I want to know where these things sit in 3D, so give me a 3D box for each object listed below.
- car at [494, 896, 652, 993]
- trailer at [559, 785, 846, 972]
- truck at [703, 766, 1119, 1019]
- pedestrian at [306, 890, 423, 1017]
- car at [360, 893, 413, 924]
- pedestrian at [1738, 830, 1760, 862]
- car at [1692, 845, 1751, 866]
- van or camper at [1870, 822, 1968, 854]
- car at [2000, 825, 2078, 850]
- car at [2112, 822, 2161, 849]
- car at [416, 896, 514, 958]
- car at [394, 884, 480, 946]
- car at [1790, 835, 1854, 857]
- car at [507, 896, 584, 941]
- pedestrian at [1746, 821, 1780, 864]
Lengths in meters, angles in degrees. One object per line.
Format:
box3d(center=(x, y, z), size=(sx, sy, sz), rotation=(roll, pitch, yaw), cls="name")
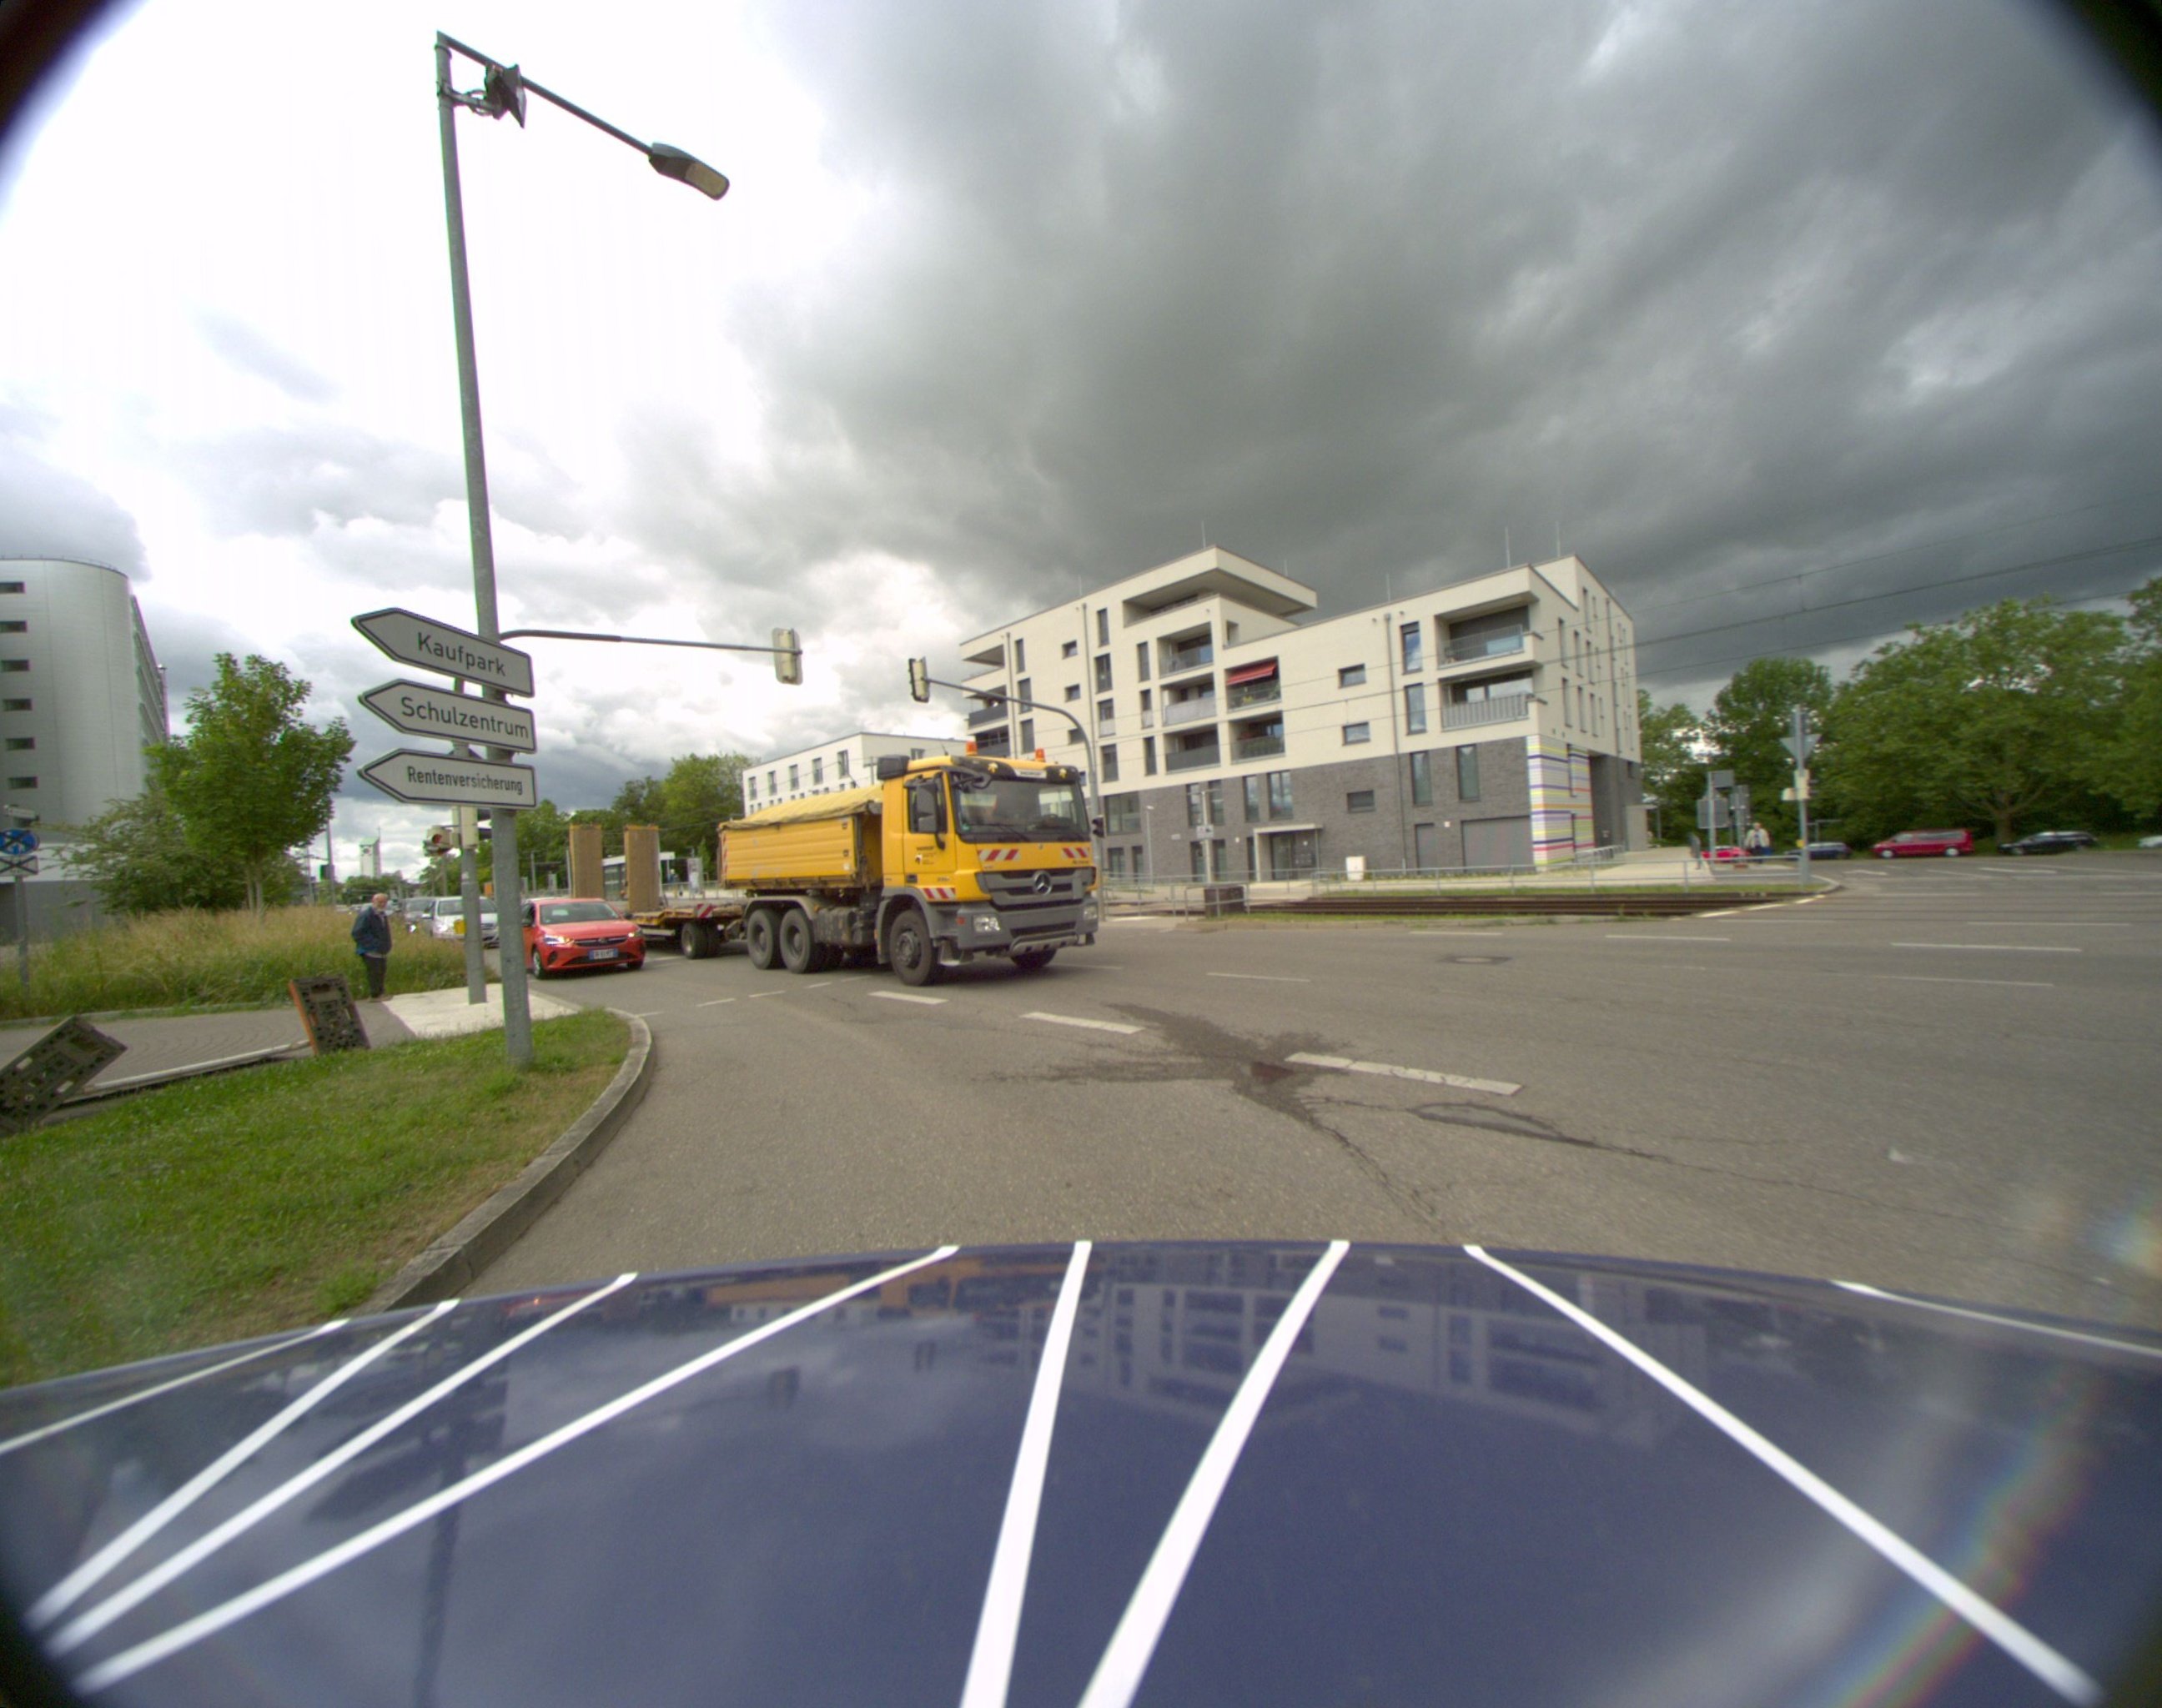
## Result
box3d(center=(-10.000, 1.636, 14.826), size=(3.989, 1.471, 1.697), rotation=(-2, 1, 44), cls="car")
box3d(center=(-9.994, 0.632, 19.005), size=(10.885, 3.501, 2.720), rotation=(-3, 0, 44), cls="trailer")
box3d(center=(-3.270, 0.519, 12.593), size=(7.757, 2.986, 2.734), rotation=(-2, 1, 44), cls="truck")
box3d(center=(-10.616, 1.433, 11.294), size=(0.956, 1.730, 0.727), rotation=(-3, 0, -17), cls="pedestrian")
box3d(center=(-39.888, 3.108, 43.603), size=(4.611, 1.564, 1.855), rotation=(-3, 0, 43), cls="car")
box3d(center=(44.260, -0.539, 50.333), size=(0.937, 2.002, 1.118), rotation=(-3, 0, 44), cls="pedestrian")
box3d(center=(52.642, 0.116, 62.518), size=(3.534, 1.490, 1.650), rotation=(-4, -1, 45), cls="car")
box3d(center=(59.976, -1.116, 54.455), size=(2.051, 2.012, 4.549), rotation=(-3, -1, -39), cls="van or camper")
box3d(center=(63.409, -1.079, 50.341), size=(1.607, 1.493, 3.132), rotation=(-3, -1, -39), cls="car")
box3d(center=(66.927, -1.193, 46.987), size=(1.877, 1.528, 3.588), rotation=(-3, -1, -39), cls="car")
box3d(center=(-18.315, 2.096, 22.545), size=(3.436, 1.564, 1.742), rotation=(-3, 0, 43), cls="car")
box3d(center=(-24.174, 2.229, 28.474), size=(3.989, 2.002, 2.004), rotation=(-3, 0, 44), cls="car")
box3d(center=(56.655, -0.626, 58.115), size=(1.607, 1.493, 3.262), rotation=(-3, -1, -39), cls="car")
box3d(center=(-20.960, 2.454, 29.686), size=(3.989, 1.471, 1.697), rotation=(-2, 1, 44), cls="car")
box3d(center=(27.600, -0.455, 30.762), size=(0.989, 1.660, 0.857), rotation=(-2, 1, 42), cls="pedestrian")
